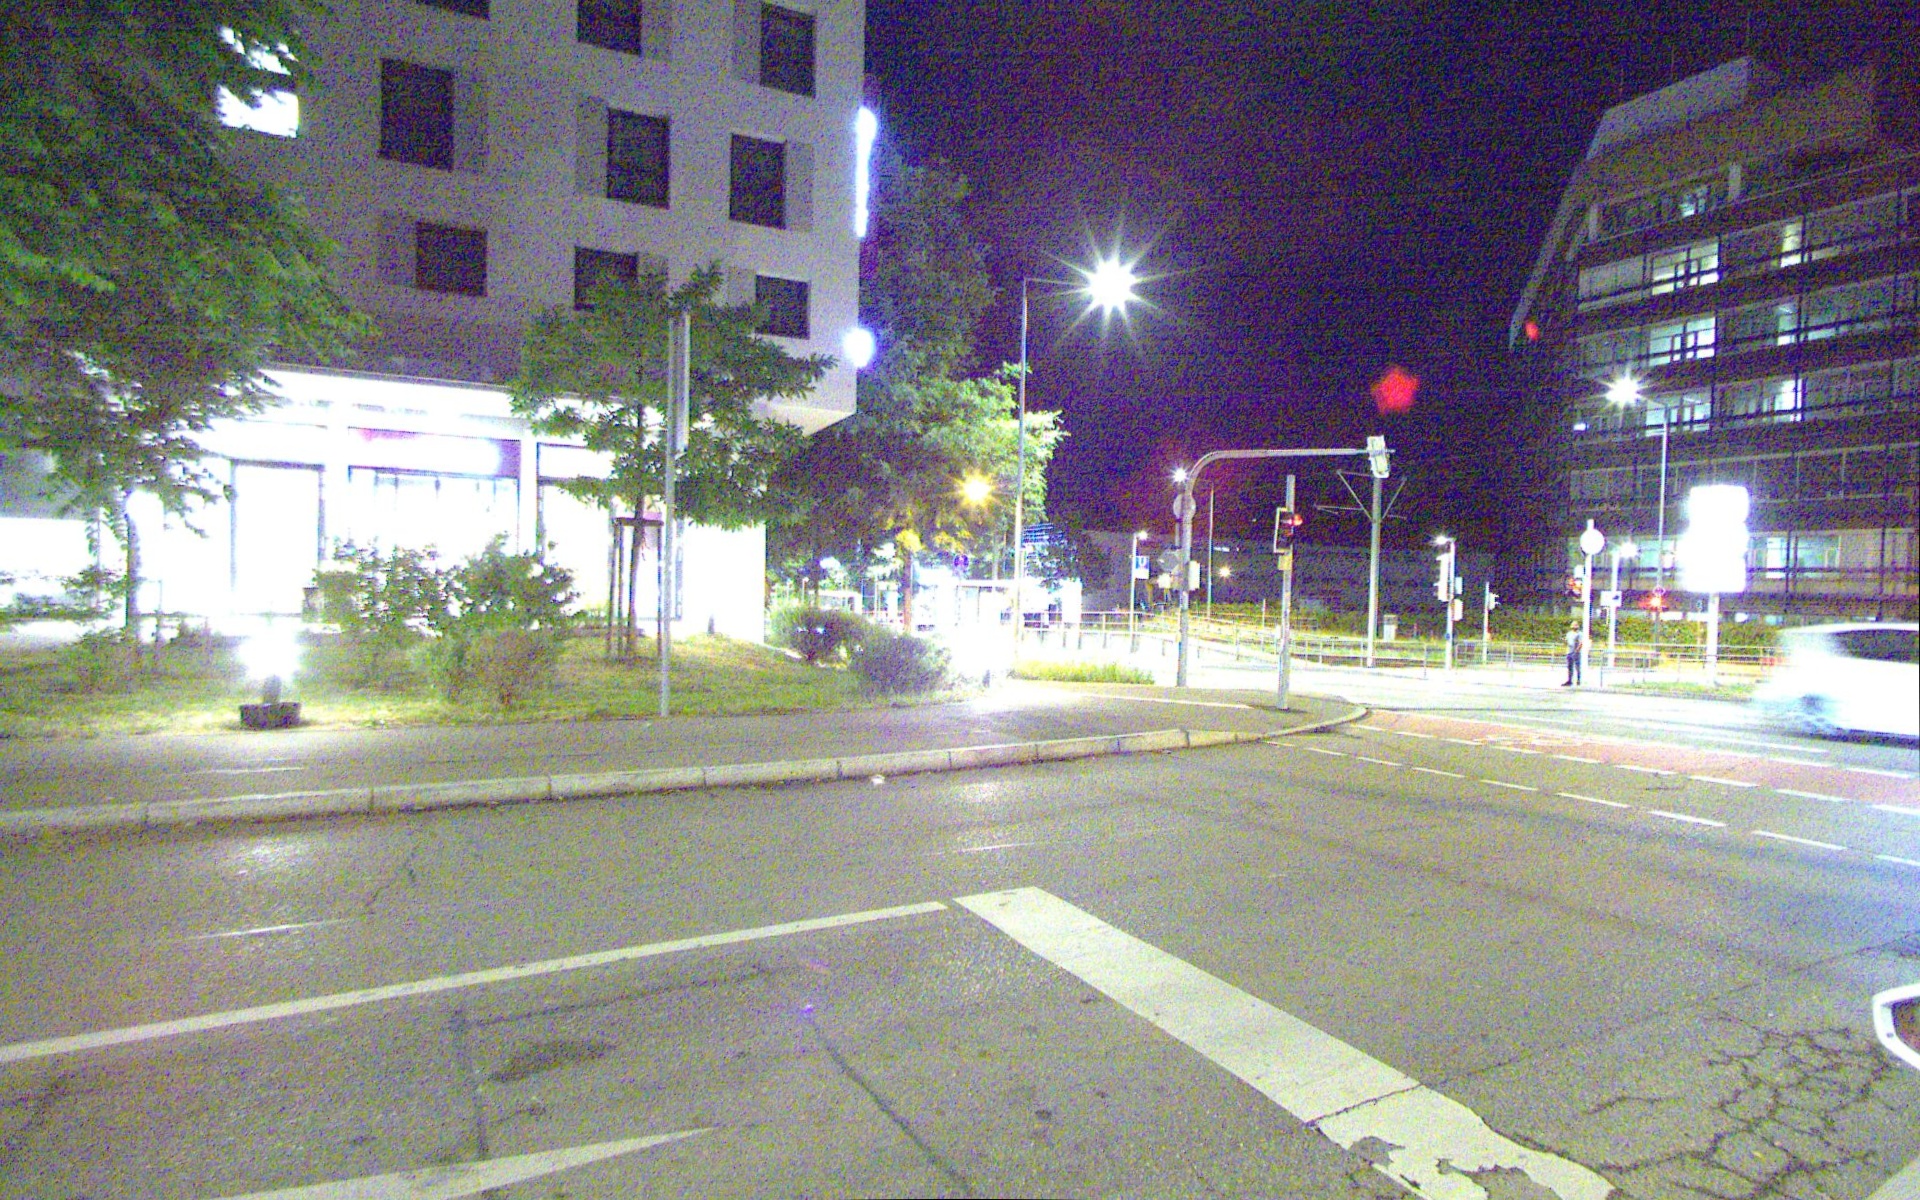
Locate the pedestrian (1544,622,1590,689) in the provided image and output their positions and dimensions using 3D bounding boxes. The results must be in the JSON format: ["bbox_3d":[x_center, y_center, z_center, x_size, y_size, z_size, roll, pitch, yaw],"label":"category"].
[{"bbox_3d":[15.506,1.414,25.656,0.854,1.656,0.665,2,0,-34],"label":"pedestrian"}]

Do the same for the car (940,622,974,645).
[{"bbox_3d":[-0.313,3.163,93.860,1.970,2.040,3.982,2,-3,-20],"label":"car"}]

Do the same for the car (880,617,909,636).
[{"bbox_3d":[-7.722,3.149,118.377,1.976,2.040,3.971,2,-3,-29],"label":"car"}]

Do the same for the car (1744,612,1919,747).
[{"bbox_3d":[12.814,1.020,12.895,1.786,1.684,3.974,2,-1,-26],"label":"car"}]

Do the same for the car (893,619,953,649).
[{"bbox_3d":[-2.003,1.784,53.323,1.793,1.522,4.177,0,-1,-23],"label":"car"}]

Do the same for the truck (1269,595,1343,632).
[{"bbox_3d":[30.828,1.177,89.673,2.877,3.129,5.873,2,0,-28],"label":"truck"}]
